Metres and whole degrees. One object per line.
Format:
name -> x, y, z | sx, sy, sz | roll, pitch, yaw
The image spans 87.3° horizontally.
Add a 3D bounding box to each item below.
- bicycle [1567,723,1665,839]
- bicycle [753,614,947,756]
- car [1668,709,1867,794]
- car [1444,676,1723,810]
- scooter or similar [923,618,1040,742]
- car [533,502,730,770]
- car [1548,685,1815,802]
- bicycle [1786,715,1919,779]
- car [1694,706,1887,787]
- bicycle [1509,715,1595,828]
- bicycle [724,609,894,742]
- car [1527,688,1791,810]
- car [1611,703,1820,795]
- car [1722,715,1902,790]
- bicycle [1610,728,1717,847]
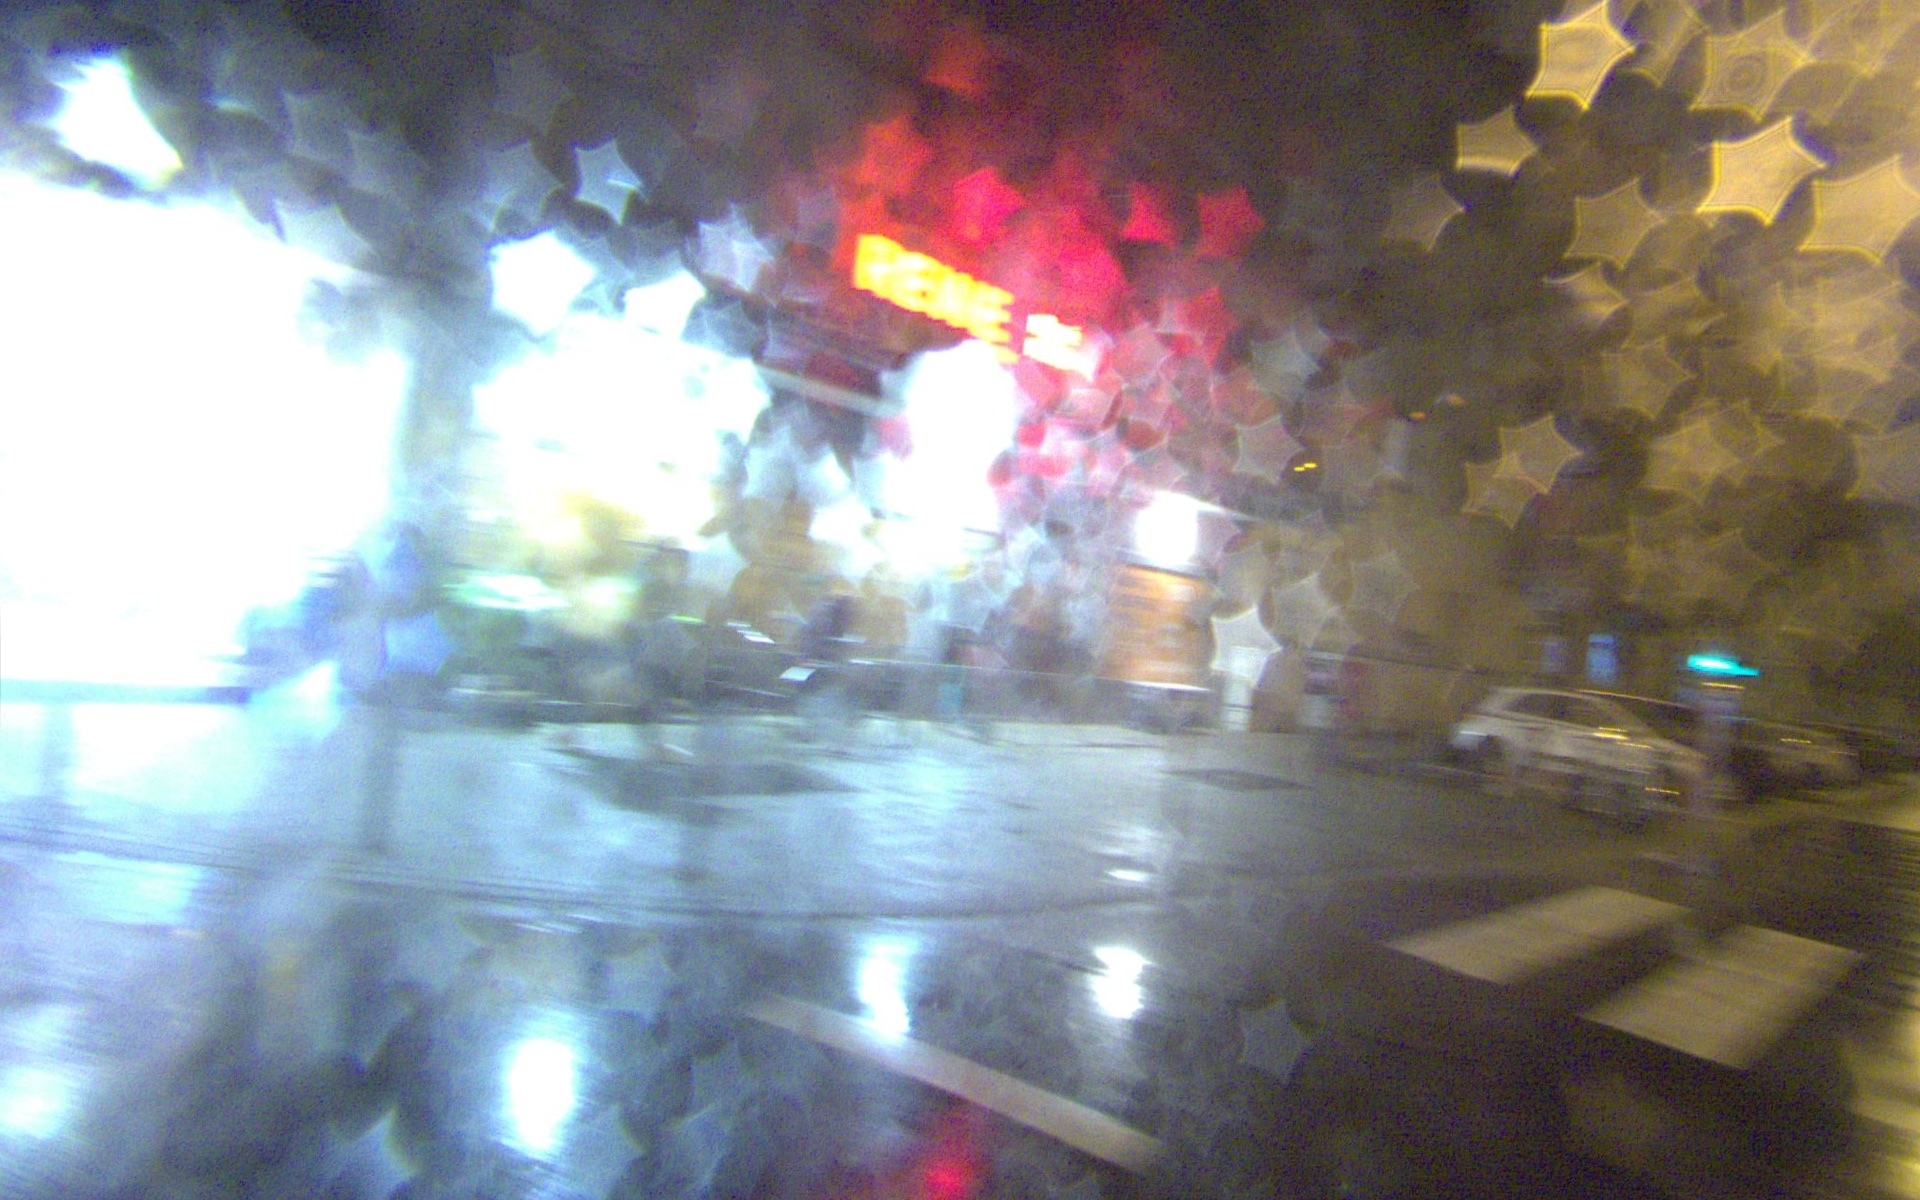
bicycle -> 7.883, 2.128, 12.165 | 0.444, 1.189, 1.967 | 7, -3, 20
bicycle -> -0.996, 0.829, 9.465 | 1.773, 1.188, 0.380 | 8, 0, -39
car -> 21.207, 3.946, 26.612 | 3.625, 1.595, 1.758 | 7, -3, 22
car -> 10.373, 2.342, 17.062 | 3.625, 1.595, 1.758 | 7, -3, 22
scooter or similar -> 0.233, 0.915, 11.774 | 0.523, 1.244, 1.299 | 9, -1, -37
car -> -2.495, 0.272, 7.627 | 0.957, 1.863, 0.867 | 8, 0, -40
car -> 14.639, 2.869, 20.699 | 4.032, 1.681, 1.758 | 7, -2, 22
bicycle -> 38.599, 6.293, 43.451 | 3.927, 2.038, 2.000 | 6, -1, 23
car -> 22.864, 3.995, 27.862 | 3.625, 1.595, 1.758 | 7, -3, 22
bicycle -> 7.246, 2.053, 12.379 | 0.444, 1.189, 1.967 | 7, -3, 20
bicycle -> -1.510, 0.793, 10.264 | 1.636, 1.187, 0.380 | 10, -4, -39
car -> 12.916, 2.718, 18.868 | 3.625, 1.595, 1.758 | 7, -3, 22
car -> 18.311, 3.572, 24.591 | 3.625, 1.595, 1.758 | 7, -3, 22
car -> 25.475, 4.525, 30.242 | 3.625, 1.595, 1.758 | 7, -3, 22
bicycle -> 8.356, 2.185, 12.017 | 0.444, 1.189, 1.967 | 7, -3, 20
